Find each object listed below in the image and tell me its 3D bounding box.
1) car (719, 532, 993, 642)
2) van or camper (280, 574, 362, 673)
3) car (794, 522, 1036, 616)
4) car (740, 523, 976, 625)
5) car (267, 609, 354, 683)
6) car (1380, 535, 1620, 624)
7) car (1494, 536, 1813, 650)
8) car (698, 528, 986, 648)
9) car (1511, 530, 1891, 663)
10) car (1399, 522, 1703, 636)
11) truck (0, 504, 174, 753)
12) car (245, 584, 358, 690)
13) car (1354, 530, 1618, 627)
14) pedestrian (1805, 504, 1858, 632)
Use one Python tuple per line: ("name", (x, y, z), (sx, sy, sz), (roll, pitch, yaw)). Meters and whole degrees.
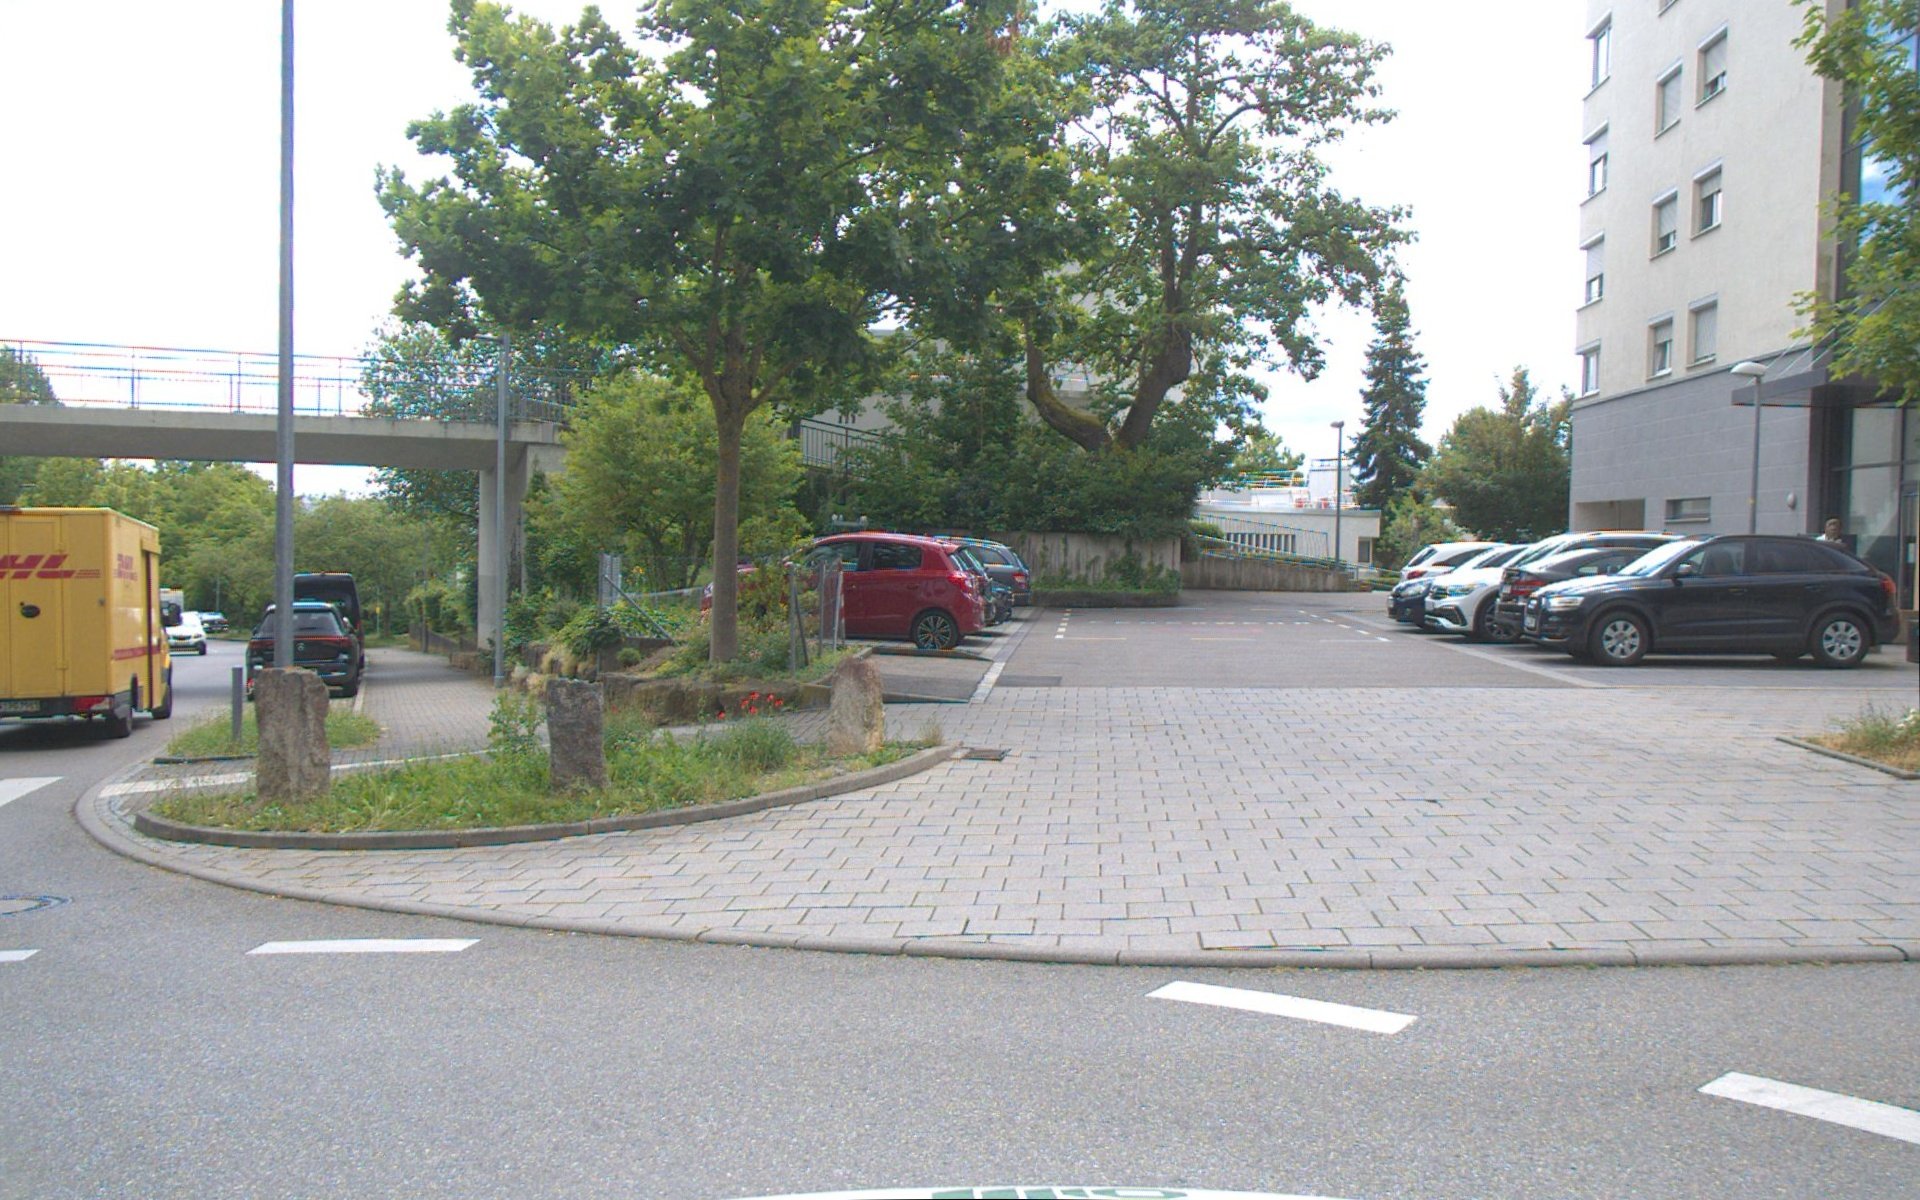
("car", (-1.407, -0.186, 23.387), (3.709, 1.446, 1.685), (1, 0, 1))
("van or camper", (-18.116, 0.680, 46.987), (1.965, 2.567, 5.437), (-2, 0, -21))
("car", (-0.844, -0.577, 31.551), (4.451, 1.697, 1.944), (1, 0, -1))
("car", (-1.704, -0.439, 28.463), (3.906, 1.642, 1.944), (1, 0, -1))
("car", (-14.295, 0.984, 36.494), (1.675, 1.523, 4.092), (-1, -1, -21))
("car", (9.814, -0.374, 30.304), (3.896, 1.544, 1.758), (1, 0, 6))
("car", (9.541, -0.108, 22.994), (3.746, 1.484, 1.694), (1, 0, 6))
("car", (-1.464, -0.160, 21.561), (3.574, 1.464, 1.685), (1, 0, 1))
("car", (9.103, -0.056, 20.589), (3.955, 1.544, 1.757), (1, 0, 6))
("car", (8.955, -0.315, 25.265), (4.035, 1.621, 1.692), (1, 0, -1))
("truck", (-11.765, 0.342, 21.455), (2.432, 2.750, 6.777), (0, -1, -22))
("car", (-12.022, 0.734, 30.232), (1.788, 1.708, 4.340), (-1, -3, -22))
("car", (8.789, -0.361, 27.904), (3.955, 1.544, 1.757), (1, 0, 6))
("pedestrian", (12.982, -0.477, 24.642), (0.469, 1.885, 0.506), (1, 0, -7))
